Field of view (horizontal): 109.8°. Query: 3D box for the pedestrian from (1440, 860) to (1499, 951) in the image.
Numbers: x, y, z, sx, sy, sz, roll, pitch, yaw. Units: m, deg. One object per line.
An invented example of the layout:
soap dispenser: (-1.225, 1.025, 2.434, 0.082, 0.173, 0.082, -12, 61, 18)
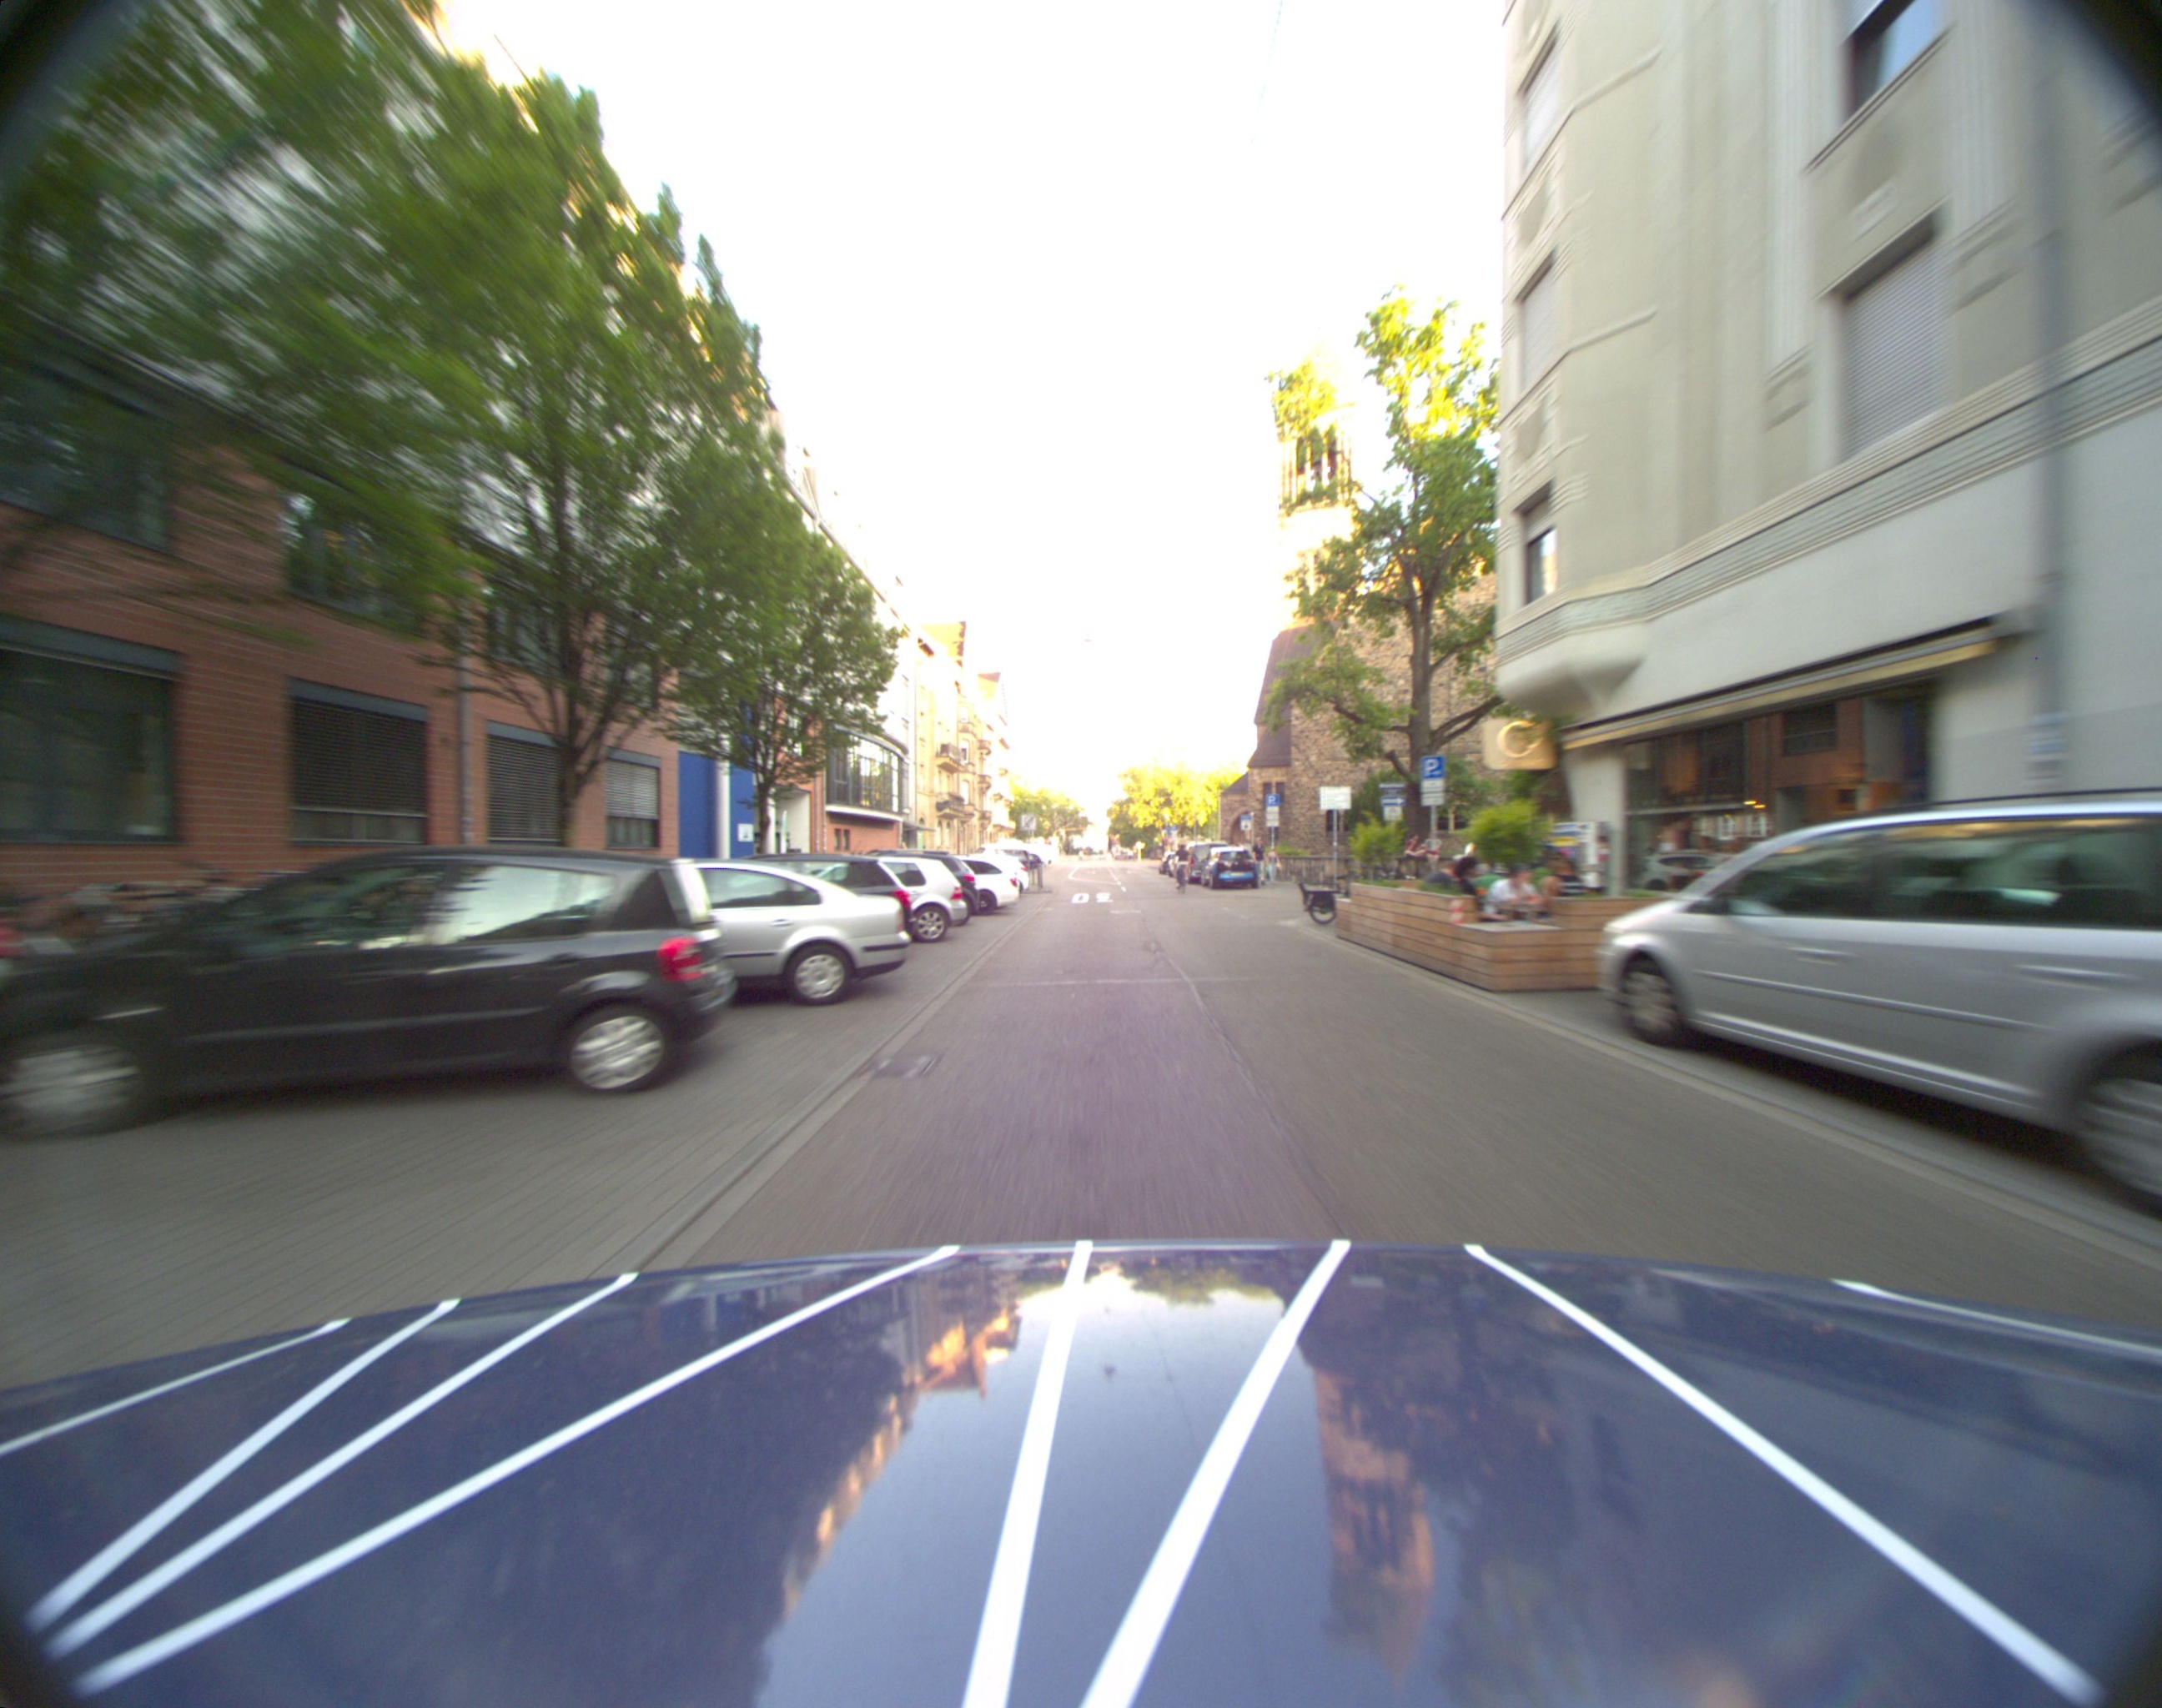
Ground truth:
pedestrian: (5.889, 0.767, 11.549, 0.538, 1.317, 0.705, -1, 1, 2)

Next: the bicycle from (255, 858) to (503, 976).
bicycle: (-8.481, 0.744, 9.222, 2.540, 1.371, 0.599, 0, 1, 4)

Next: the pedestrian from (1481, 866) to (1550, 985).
pedestrian: (5.141, 0.823, 9.008, 0.469, 1.342, 0.611, -1, 1, 0)

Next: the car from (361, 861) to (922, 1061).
car: (-3.986, 0.860, 7.677, 4.392, 1.525, 1.803, 0, 1, -23)

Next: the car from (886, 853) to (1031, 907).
car: (-3.763, 0.749, 23.471, 4.007, 1.465, 1.870, 0, 2, -32)

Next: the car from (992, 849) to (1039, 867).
car: (-6.124, 0.370, 71.054, 4.066, 1.490, 1.749, 2, 1, -34)

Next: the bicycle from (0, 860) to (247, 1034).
bicycle: (-8.578, 0.744, 6.405, 2.540, 1.371, 0.599, 0, 1, 4)

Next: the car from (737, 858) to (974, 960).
car: (-3.804, 0.826, 12.843, 3.610, 1.474, 1.719, 0, 1, -26)

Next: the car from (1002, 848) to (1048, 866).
car: (-5.484, 0.307, 74.112, 4.107, 1.598, 1.811, 2, 1, -37)

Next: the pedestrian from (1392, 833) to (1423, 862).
pedestrian: (11.201, -0.232, 26.088, 0.708, 0.975, 0.837, 0, 1, -1)

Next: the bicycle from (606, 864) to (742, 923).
bicycle: (-8.337, 0.800, 15.598, 2.540, 1.160, 0.562, 0, 1, 4)

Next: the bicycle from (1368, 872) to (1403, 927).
bicycle: (5.982, 0.867, 14.988, 0.424, 1.006, 1.720, -1, -1, 15)

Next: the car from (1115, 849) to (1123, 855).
car: (10.526, -0.512, 210.390, 1.827, 1.565, 4.001, -1, 0, 5)

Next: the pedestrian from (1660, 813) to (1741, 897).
pedestrian: (8.833, 0.008, 10.861, 0.558, 1.147, 0.748, -1, 1, 0)

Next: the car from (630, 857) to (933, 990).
car: (-4.020, 0.821, 10.421, 3.610, 1.525, 1.559, 0, 1, -27)

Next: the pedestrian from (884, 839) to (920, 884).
pedestrian: (-8.311, 0.338, 35.269, 0.608, 2.002, 0.857, 27, 3, 2)

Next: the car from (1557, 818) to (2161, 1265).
car: (4.834, 0.649, 3.991, 1.998, 1.582, 4.314, 0, 1, 1)

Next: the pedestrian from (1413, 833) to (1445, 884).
pedestrian: (11.931, 0.139, 26.089, 0.708, 1.711, 0.837, 0, 1, -1)

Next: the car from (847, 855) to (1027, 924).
car: (-3.480, 0.796, 18.566, 4.006, 1.528, 1.632, 0, 0, -29)

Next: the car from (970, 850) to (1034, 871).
car: (-5.968, 0.466, 57.478, 4.363, 1.494, 1.909, -1, 1, -27)

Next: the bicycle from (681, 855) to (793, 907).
bicycle: (-8.170, 0.622, 18.082, 2.351, 1.093, 0.680, 3, 1, 4)

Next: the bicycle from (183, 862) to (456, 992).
bicycle: (-8.464, 0.788, 8.486, 2.540, 1.371, 0.599, 0, 1, 4)

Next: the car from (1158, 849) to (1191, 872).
car: (6.114, 0.404, 49.970, 1.787, 1.427, 4.316, 0, 0, 3)

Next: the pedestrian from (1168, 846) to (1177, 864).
pedestrian: (8.630, 0.078, 71.819, 0.716, 1.715, 0.691, 0, 1, -8)

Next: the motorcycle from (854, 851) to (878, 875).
motorcycle: (-10.446, 0.424, 36.973, 0.589, 1.097, 2.083, 2, 1, -2)

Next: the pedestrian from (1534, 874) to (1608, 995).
pedestrian: (5.717, 0.924, 8.894, 0.469, 1.342, 0.611, -1, 1, 0)

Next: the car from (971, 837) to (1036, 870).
car: (-6.086, -0.108, 59.995, 4.732, 2.532, 1.914, -1, 2, -28)

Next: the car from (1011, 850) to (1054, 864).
car: (-5.262, 0.338, 83.193, 4.263, 1.445, 1.994, 1, 1, -37)

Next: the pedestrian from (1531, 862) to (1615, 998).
pedestrian: (5.069, 0.758, 7.850, 0.518, 1.342, 0.540, -1, 1, -2)

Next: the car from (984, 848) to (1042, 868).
car: (-5.615, 0.366, 62.921, 4.406, 1.478, 1.839, 2, 0, -29)

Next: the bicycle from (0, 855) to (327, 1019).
bicycle: (-8.543, 0.733, 7.062, 2.540, 1.238, 0.599, 5, 1, 4)

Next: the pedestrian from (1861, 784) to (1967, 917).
pedestrian: (8.710, -0.036, 7.961, 0.540, 1.342, 0.518, -1, 1, 2)

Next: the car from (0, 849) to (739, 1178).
car: (-4.525, 0.805, 4.970, 4.003, 1.627, 1.755, 1, 0, -18)

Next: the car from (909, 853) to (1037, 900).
car: (-3.698, 0.719, 26.127, 4.006, 1.498, 1.766, 0, 1, -28)

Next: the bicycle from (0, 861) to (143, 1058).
bicycle: (-8.618, 0.749, 5.703, 2.540, 1.371, 0.599, 0, 1, 4)

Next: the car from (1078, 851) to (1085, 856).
car: (0.174, -0.175, 215.601, 1.794, 1.571, 4.001, 0, 0, 5)

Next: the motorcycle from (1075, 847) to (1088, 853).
motorcycle: (0.175, -0.727, 137.629, 2.288, 0.917, 0.621, 0, 1, -24)

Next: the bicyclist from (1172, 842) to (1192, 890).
bicyclist: (3.624, 0.425, 27.266, 0.604, 1.675, 1.142, 0, 1, 2)

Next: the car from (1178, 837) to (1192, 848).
car: (18.126, -1.984, 132.526, 1.865, 2.002, 3.815, 0, 1, 16)

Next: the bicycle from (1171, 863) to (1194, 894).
bicycle: (3.628, 0.875, 27.280, 0.616, 1.034, 1.904, 0, 1, 1)

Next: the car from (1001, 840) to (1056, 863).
car: (-5.920, -0.266, 85.918, 5.897, 2.537, 2.189, 1, 2, -40)

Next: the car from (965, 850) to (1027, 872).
car: (-6.149, 0.479, 54.981, 4.076, 1.483, 1.720, -1, 1, -30)

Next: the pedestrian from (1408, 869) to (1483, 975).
pedestrian: (4.756, 0.866, 9.957, 0.610, 1.317, 0.770, -1, 1, 0)

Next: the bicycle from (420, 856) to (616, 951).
bicycle: (-8.397, 0.718, 11.369, 2.540, 1.371, 0.599, 0, 1, 4)

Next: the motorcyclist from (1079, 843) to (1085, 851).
motorcyclist: (0.159, -1.238, 137.607, 0.830, 1.511, 0.621, -1, 1, -24)

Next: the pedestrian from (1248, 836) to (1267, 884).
pedestrian: (7.085, 0.220, 30.509, 0.583, 1.894, 0.803, 0, 1, -2)

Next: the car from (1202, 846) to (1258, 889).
car: (5.739, 0.482, 29.654, 1.644, 1.546, 4.005, -1, 0, 3)

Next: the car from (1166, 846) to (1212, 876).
car: (5.928, 0.361, 42.025, 1.876, 1.582, 4.468, 0, 0, 0)

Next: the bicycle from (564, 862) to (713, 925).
bicycle: (-8.358, 0.742, 14.374, 2.540, 1.160, 0.562, 0, 1, 4)

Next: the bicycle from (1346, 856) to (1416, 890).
bicycle: (10.140, 0.638, 25.742, 2.144, 1.127, 0.555, 0, 1, 2)

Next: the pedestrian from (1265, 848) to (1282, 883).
pedestrian: (7.730, 0.452, 30.532, 0.533, 1.397, 0.659, -2, 1, 2)

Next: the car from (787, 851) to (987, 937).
car: (-3.943, 0.720, 15.537, 3.611, 1.571, 1.712, 0, 1, -32)

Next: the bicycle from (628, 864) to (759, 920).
bicycle: (-8.264, 0.804, 16.250, 2.540, 1.160, 0.562, 0, 1, 4)

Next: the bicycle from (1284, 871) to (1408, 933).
bicycle: (4.902, 0.870, 14.107, 2.111, 1.088, 0.502, -1, 0, 26)

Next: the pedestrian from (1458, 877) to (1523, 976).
pedestrian: (5.734, 0.995, 10.655, 0.538, 1.317, 0.705, -1, 1, 2)

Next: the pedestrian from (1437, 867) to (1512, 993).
pedestrian: (4.404, 0.824, 8.535, 0.485, 1.342, 0.669, -1, 1, 0)

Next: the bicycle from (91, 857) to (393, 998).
bicycle: (-8.535, 0.725, 7.772, 2.540, 1.371, 0.599, 0, 1, 4)

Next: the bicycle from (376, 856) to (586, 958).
bicycle: (-8.387, 0.724, 10.654, 2.540, 1.371, 0.599, 0, 1, 4)

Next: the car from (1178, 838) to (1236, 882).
car: (5.688, 0.251, 34.975, 1.998, 1.856, 5.290, -1, 0, 3)

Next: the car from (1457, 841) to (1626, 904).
car: (13.983, 0.540, 23.264, 3.995, 1.833, 1.891, 0, 1, 5)
